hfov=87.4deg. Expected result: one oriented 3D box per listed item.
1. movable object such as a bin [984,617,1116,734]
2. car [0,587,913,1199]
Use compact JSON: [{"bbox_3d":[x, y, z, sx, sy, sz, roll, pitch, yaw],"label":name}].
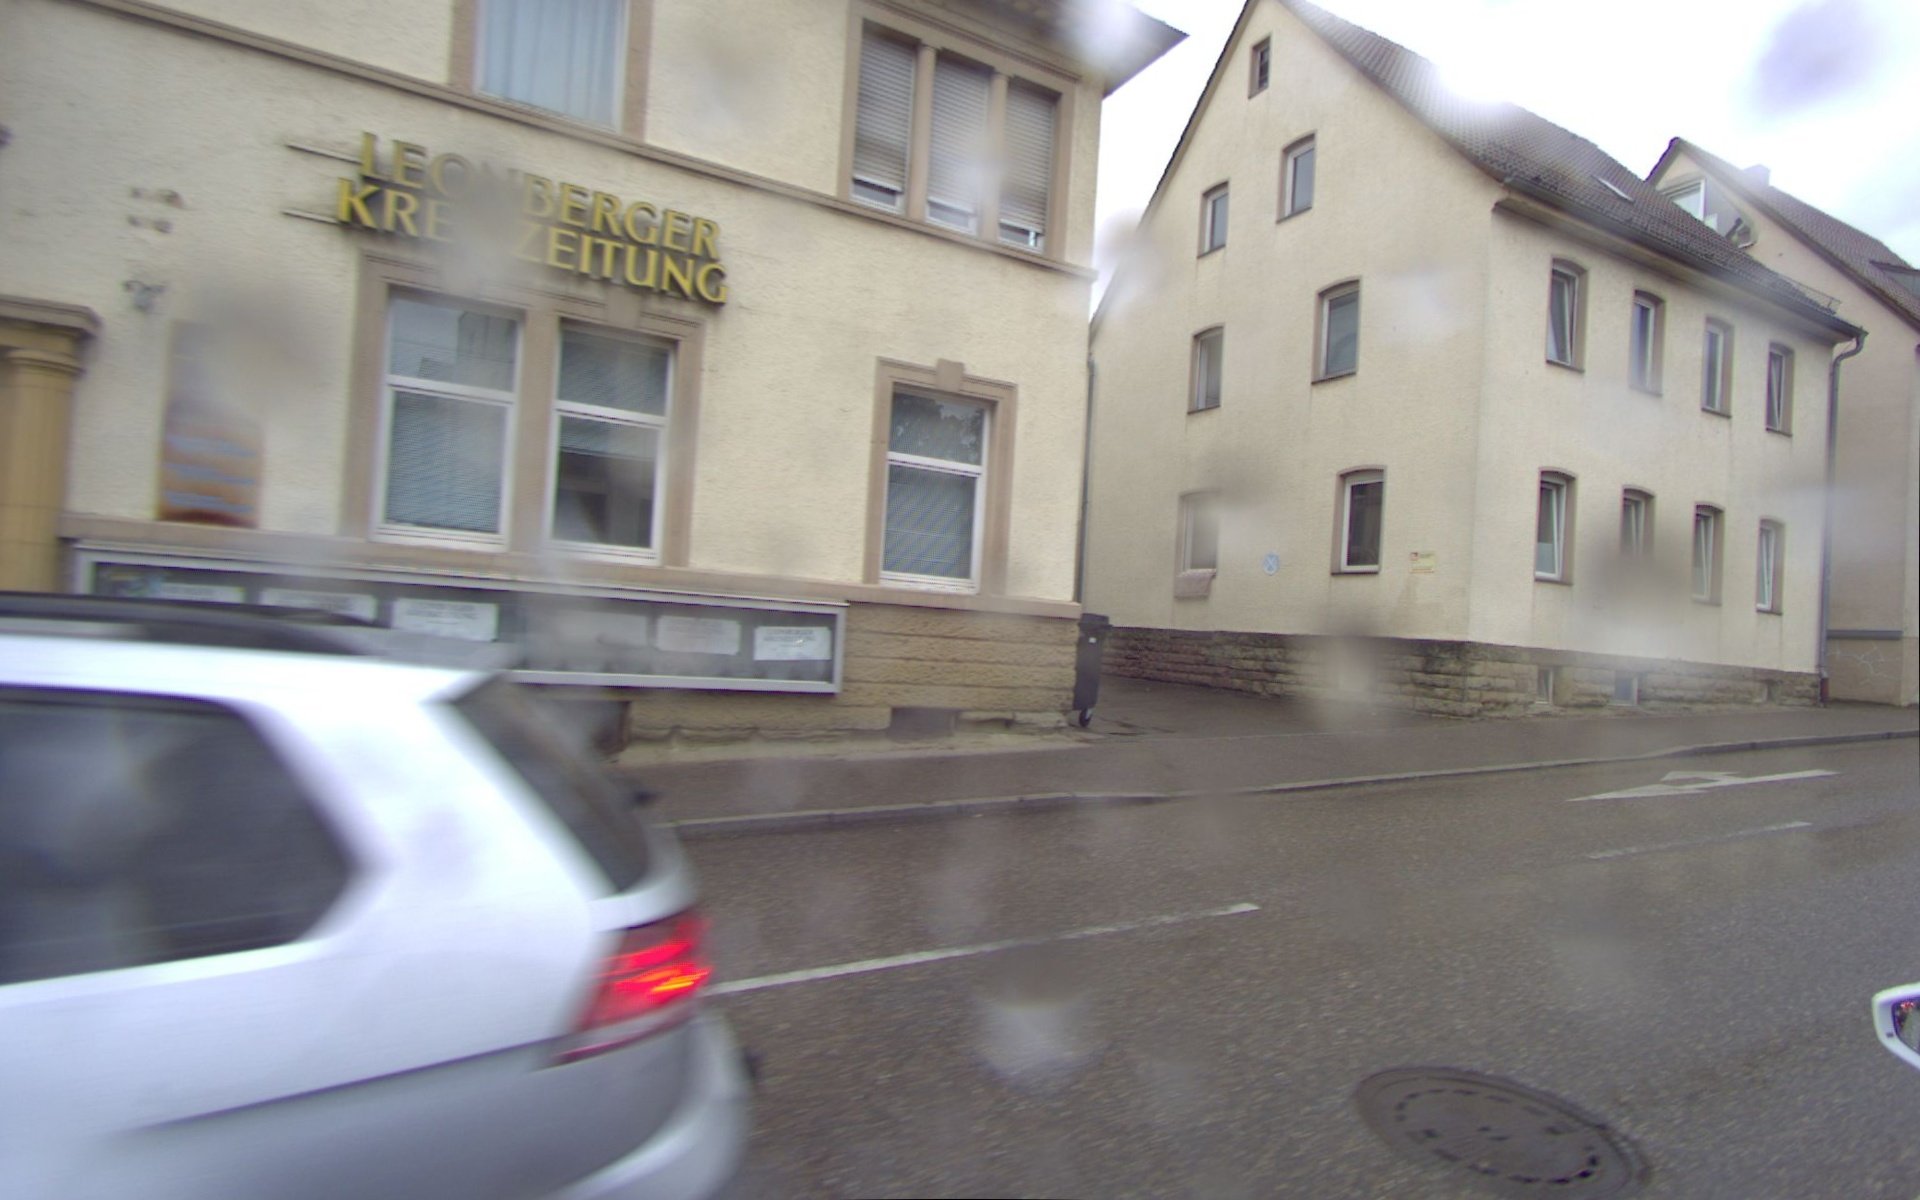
[{"bbox_3d":[1.059,0.862,12.060,1.038,1.283,1.274,1,0,-29],"label":"movable object such as a bin"},{"bbox_3d":[-2.536,0.687,1.265,4.627,1.458,1.793,1,0,-26],"label":"car"}]
